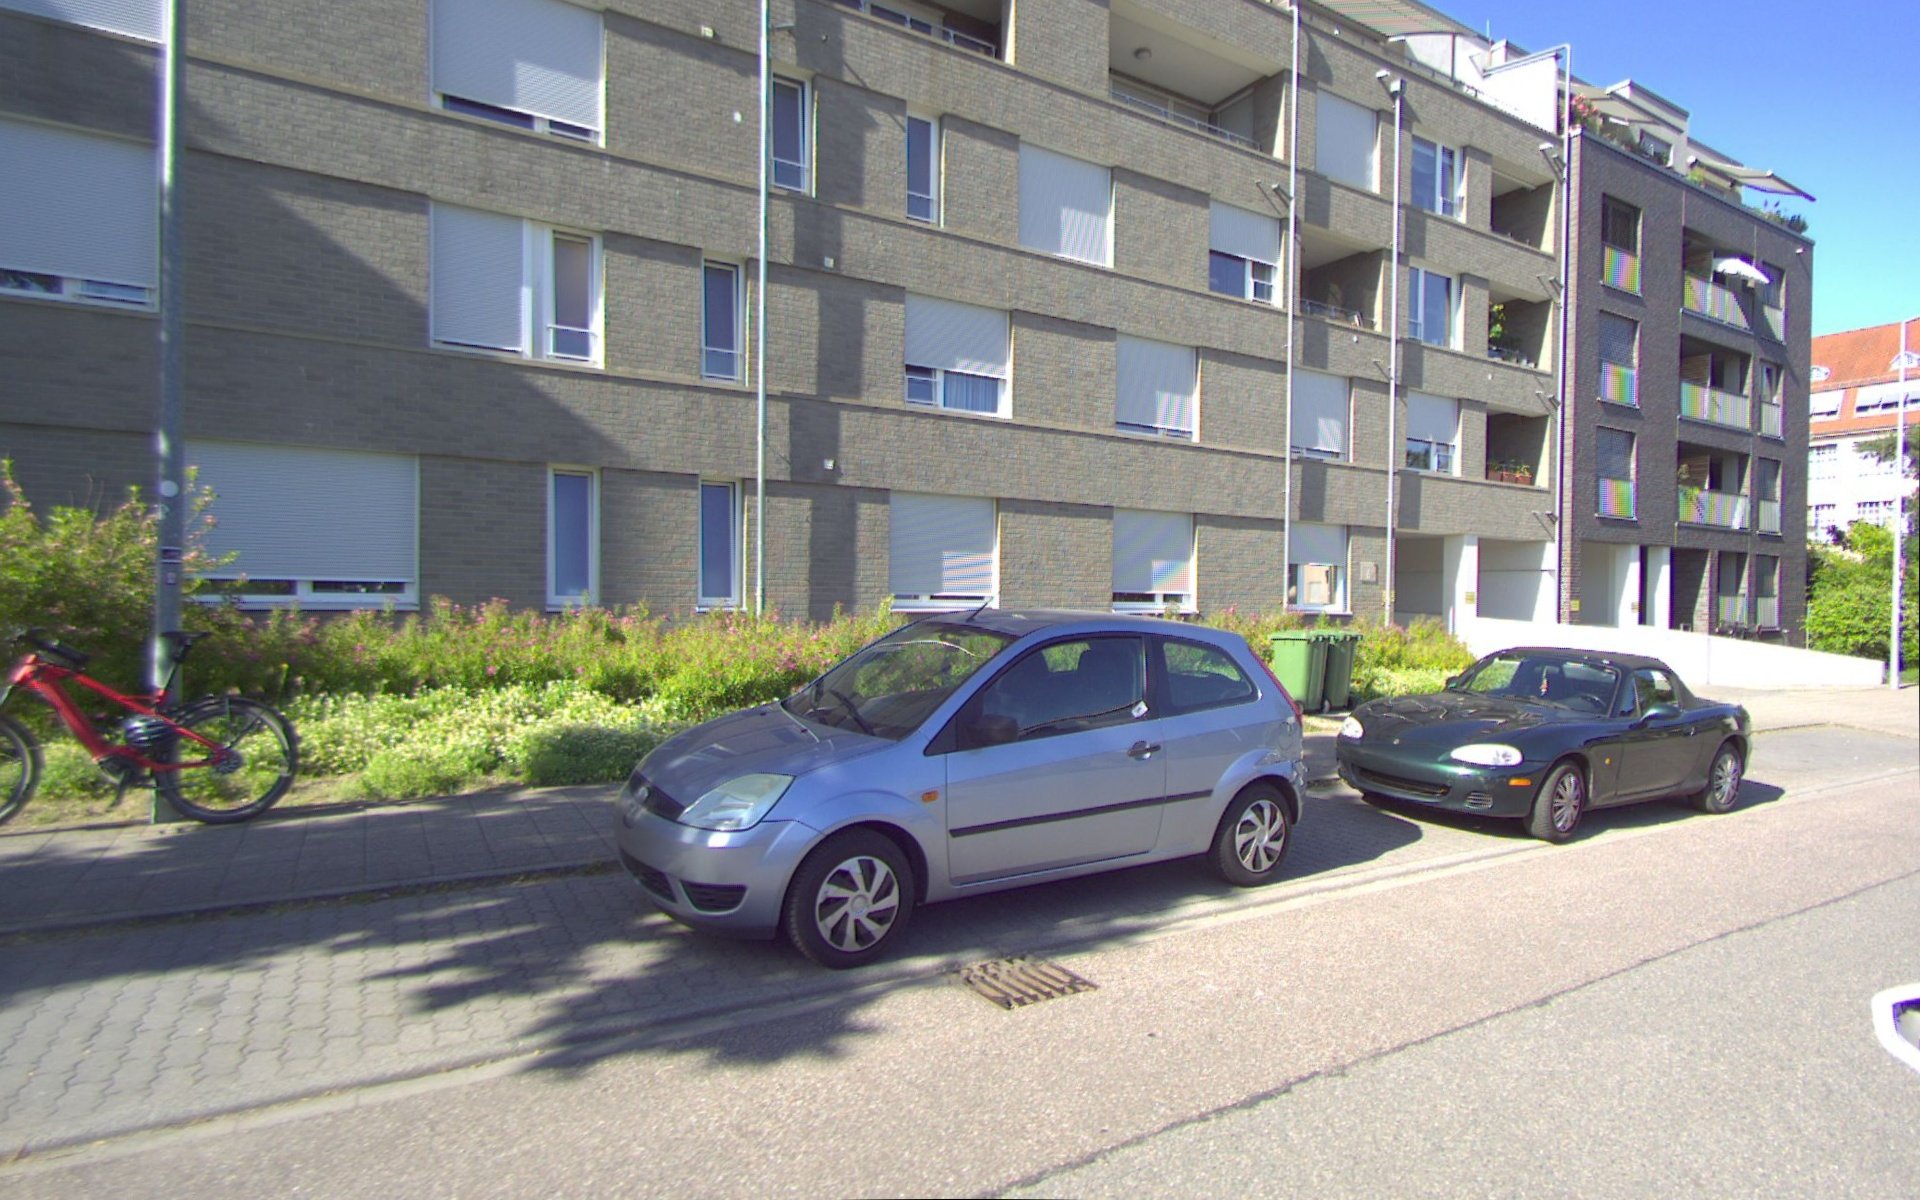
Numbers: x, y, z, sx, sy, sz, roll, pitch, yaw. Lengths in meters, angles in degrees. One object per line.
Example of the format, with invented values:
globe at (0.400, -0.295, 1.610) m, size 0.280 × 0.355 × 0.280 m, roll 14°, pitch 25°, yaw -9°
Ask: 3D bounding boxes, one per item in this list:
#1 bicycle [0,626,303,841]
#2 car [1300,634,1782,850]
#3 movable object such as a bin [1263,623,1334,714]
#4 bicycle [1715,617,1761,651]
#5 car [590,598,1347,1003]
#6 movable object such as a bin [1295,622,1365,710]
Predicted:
bicycle at (-4.879, 0.725, 5.634) m, size 1.957 × 1.139 × 0.282 m, roll 1°, pitch 0°, yaw -25°
car at (4.655, 0.948, 7.945) m, size 3.830 × 1.233 × 1.591 m, roll 1°, pitch 2°, yaw -30°
movable object such as a bin at (4.336, 0.859, 12.881) m, size 0.629 × 1.105 × 0.604 m, roll 0°, pitch 1°, yaw -32°
bicycle at (20.226, 0.866, 26.093) m, size 1.752 × 0.849 × 0.252 m, roll 0°, pitch 1°, yaw -28°
car at (0.179, 0.772, 5.413) m, size 3.832 × 1.484 × 1.602 m, roll 1°, pitch 0°, yaw -33°
movable object such as a bin at (4.918, 0.860, 13.357) m, size 0.629 × 1.098 × 0.604 m, roll 0°, pitch 1°, yaw -32°
